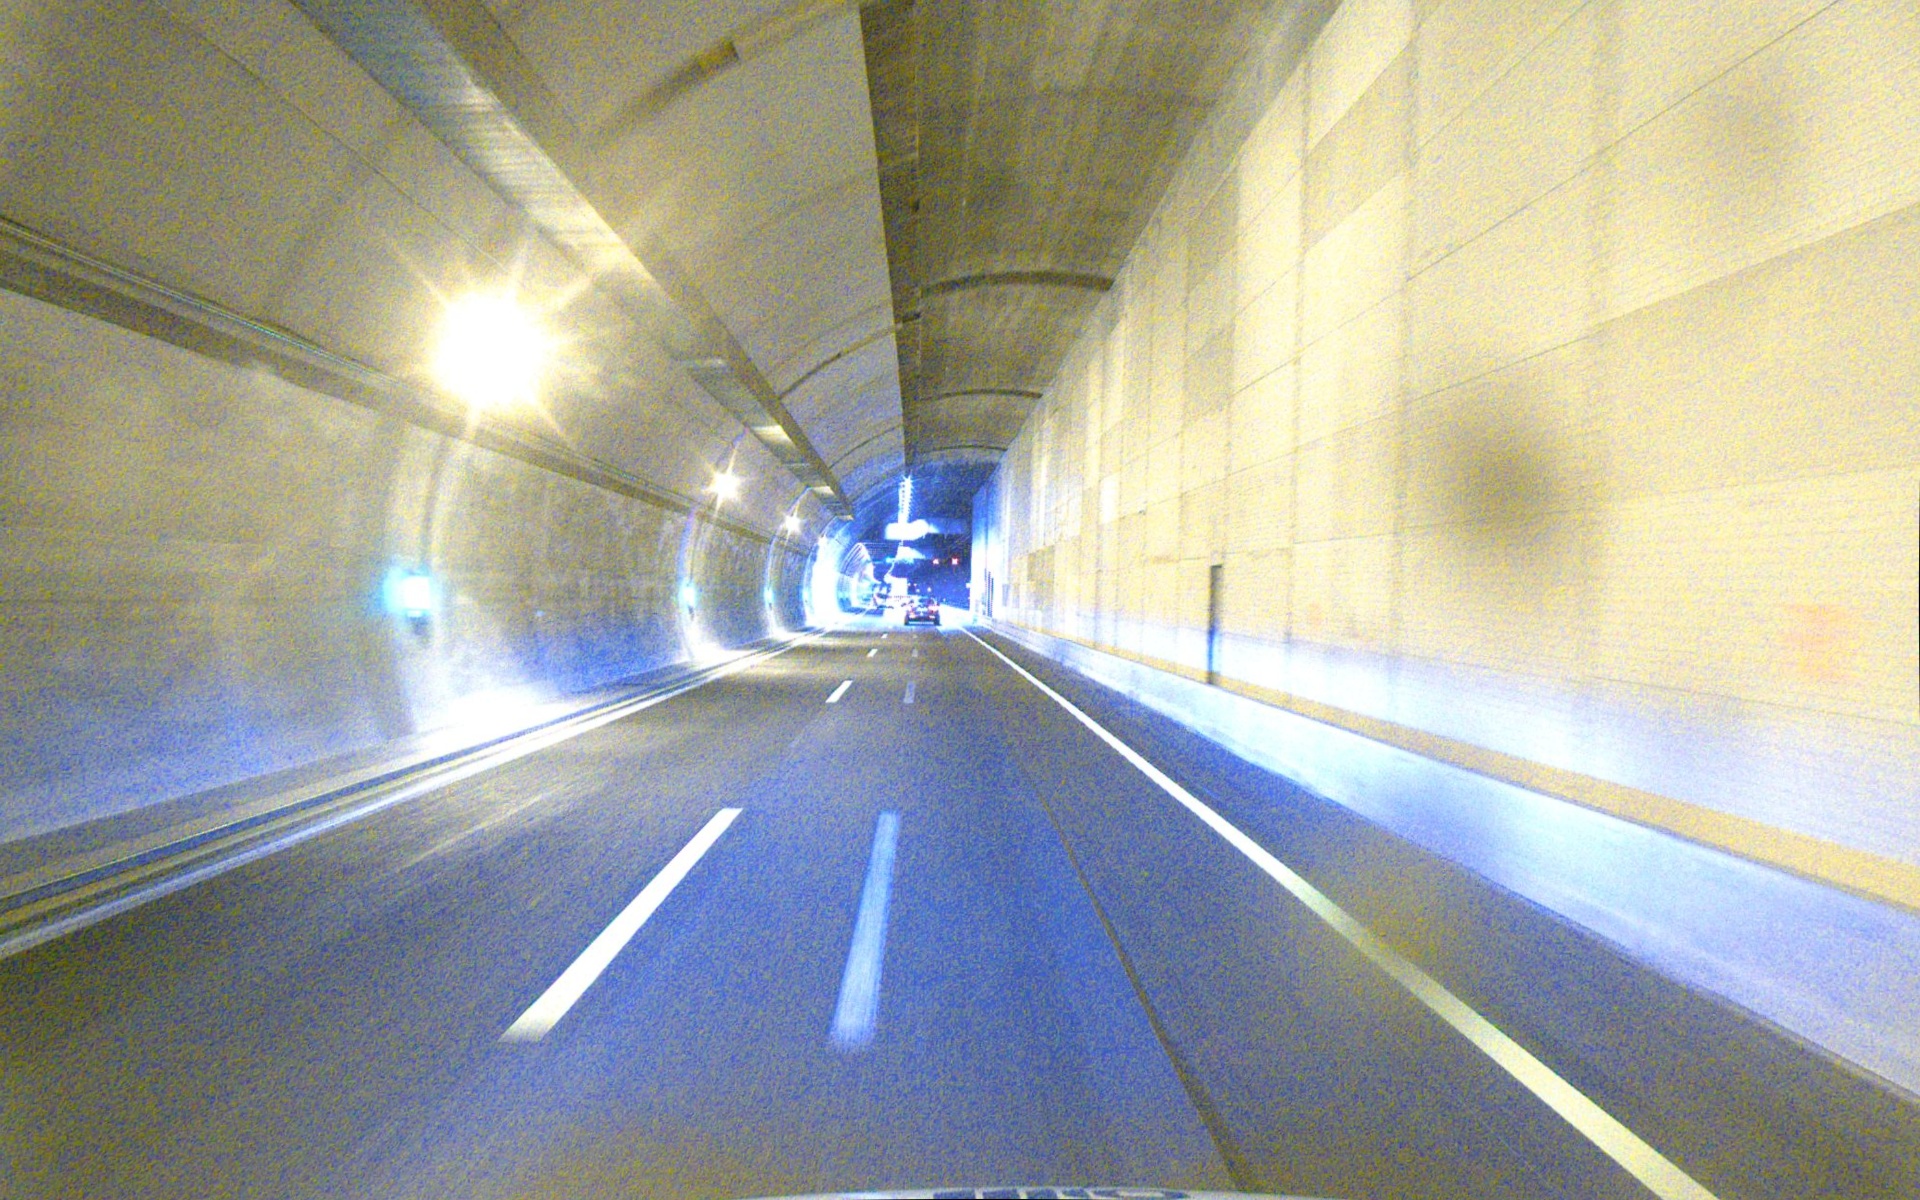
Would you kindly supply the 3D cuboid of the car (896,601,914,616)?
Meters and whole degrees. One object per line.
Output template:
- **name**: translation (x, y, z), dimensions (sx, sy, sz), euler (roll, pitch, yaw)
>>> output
- **car**: translation (-6.453, 1.036, 193.966), dimensions (1.891, 1.716, 4.000), euler (0, 0, 0)

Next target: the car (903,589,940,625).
- **car**: translation (-1.988, 0.342, 85.490), dimensions (1.907, 1.826, 3.999), euler (0, 0, -1)

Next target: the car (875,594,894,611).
- **car**: translation (-7.607, 0.218, 167.353), dimensions (1.891, 1.716, 3.998), euler (0, 0, -3)
